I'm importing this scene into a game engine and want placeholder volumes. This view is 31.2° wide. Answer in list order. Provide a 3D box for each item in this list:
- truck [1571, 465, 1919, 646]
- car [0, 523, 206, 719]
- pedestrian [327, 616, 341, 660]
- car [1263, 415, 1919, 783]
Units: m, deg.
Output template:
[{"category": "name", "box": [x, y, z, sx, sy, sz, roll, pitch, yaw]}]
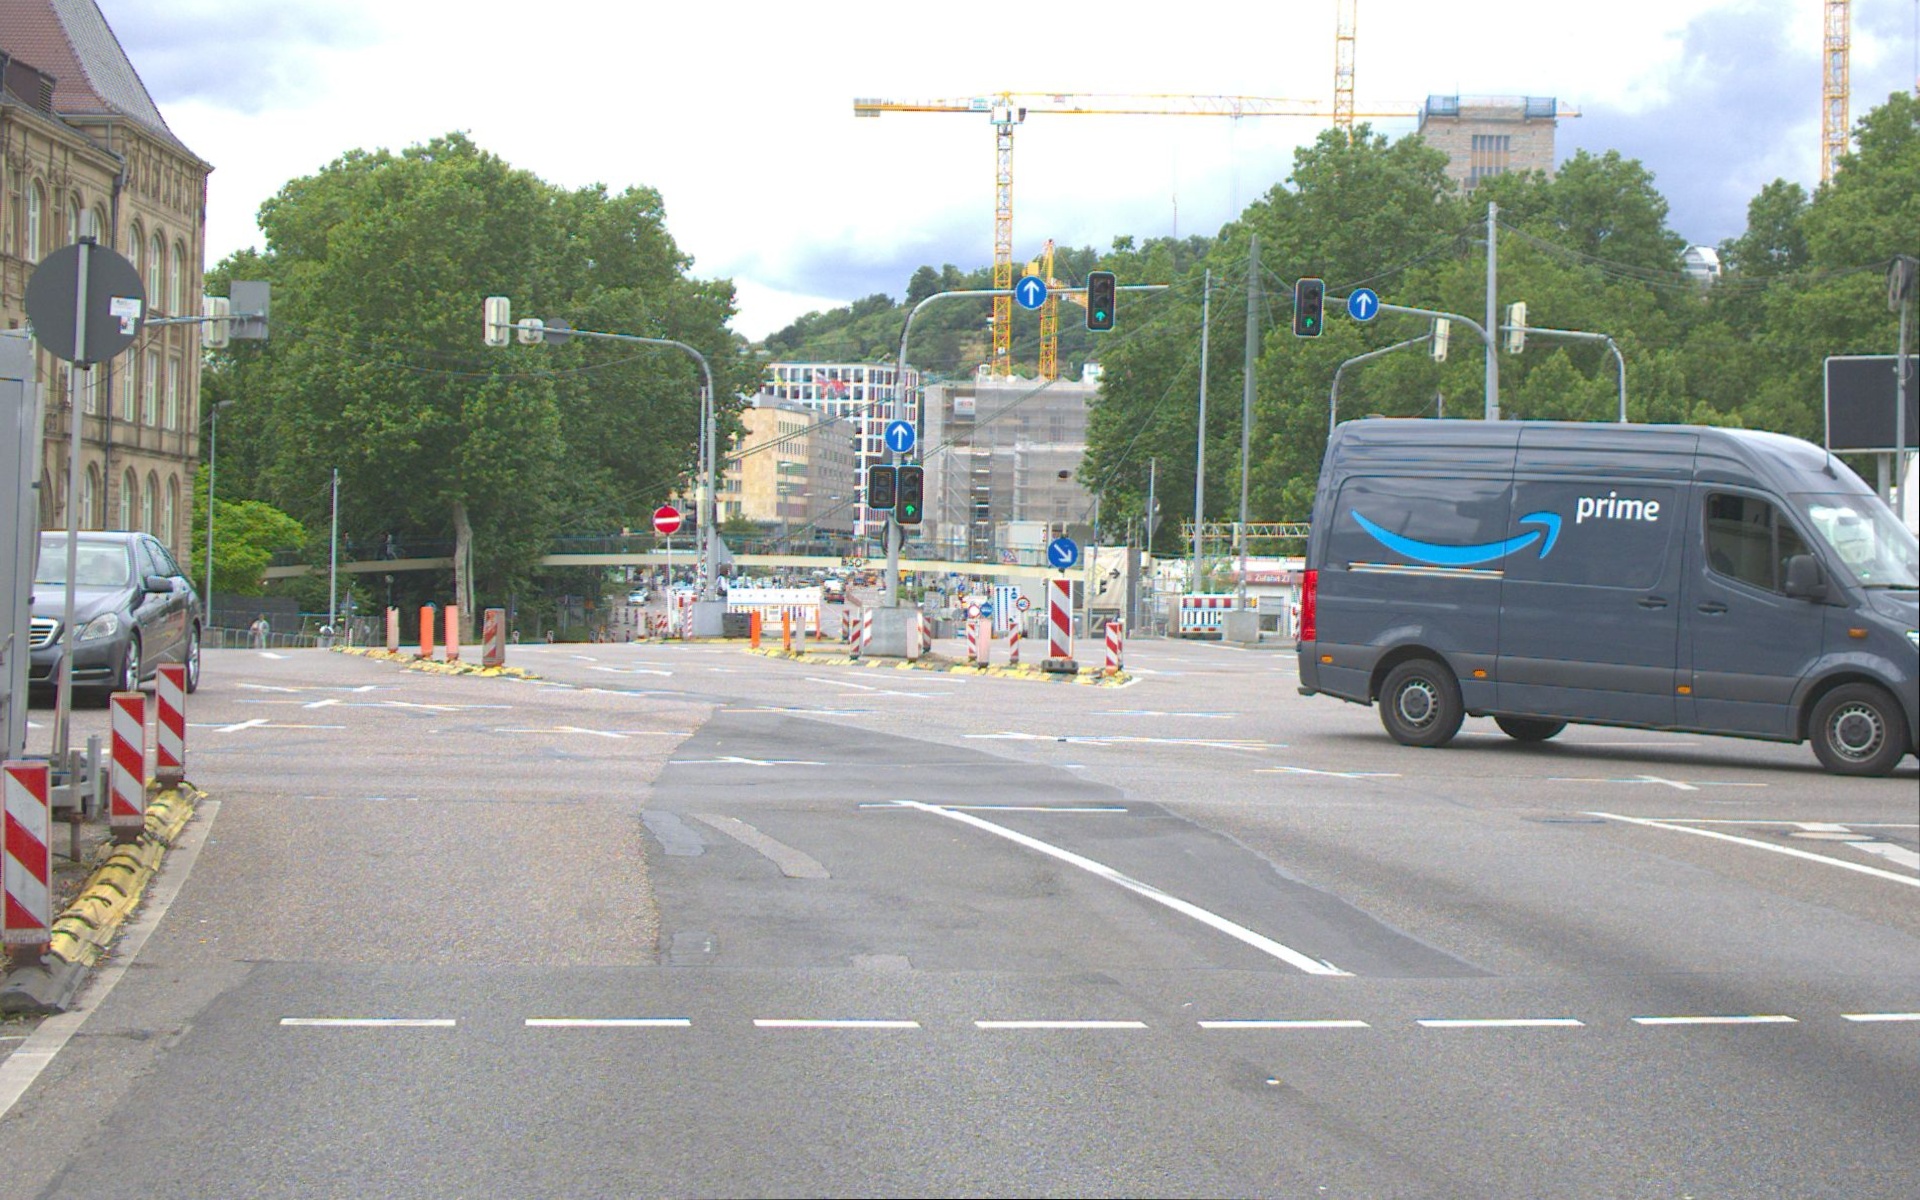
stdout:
[{"category": "truck", "box": [21.353, -1.003, 82.003, 13.022, 4.027, 3.952, 1, 1, -20]}, {"category": "car", "box": [-7.569, 0.120, 29.001, 1.706, 1.508, 4.289, 1, 1, -4]}, {"category": "pedestrian", "box": [-28.878, 1.763, 158.618, 0.524, 2.007, 0.567, 1, 1, 0]}, {"category": "car", "box": [5.446, -0.085, 26.598, 6.008, 2.585, 2.059, 2, 1, 39]}]
